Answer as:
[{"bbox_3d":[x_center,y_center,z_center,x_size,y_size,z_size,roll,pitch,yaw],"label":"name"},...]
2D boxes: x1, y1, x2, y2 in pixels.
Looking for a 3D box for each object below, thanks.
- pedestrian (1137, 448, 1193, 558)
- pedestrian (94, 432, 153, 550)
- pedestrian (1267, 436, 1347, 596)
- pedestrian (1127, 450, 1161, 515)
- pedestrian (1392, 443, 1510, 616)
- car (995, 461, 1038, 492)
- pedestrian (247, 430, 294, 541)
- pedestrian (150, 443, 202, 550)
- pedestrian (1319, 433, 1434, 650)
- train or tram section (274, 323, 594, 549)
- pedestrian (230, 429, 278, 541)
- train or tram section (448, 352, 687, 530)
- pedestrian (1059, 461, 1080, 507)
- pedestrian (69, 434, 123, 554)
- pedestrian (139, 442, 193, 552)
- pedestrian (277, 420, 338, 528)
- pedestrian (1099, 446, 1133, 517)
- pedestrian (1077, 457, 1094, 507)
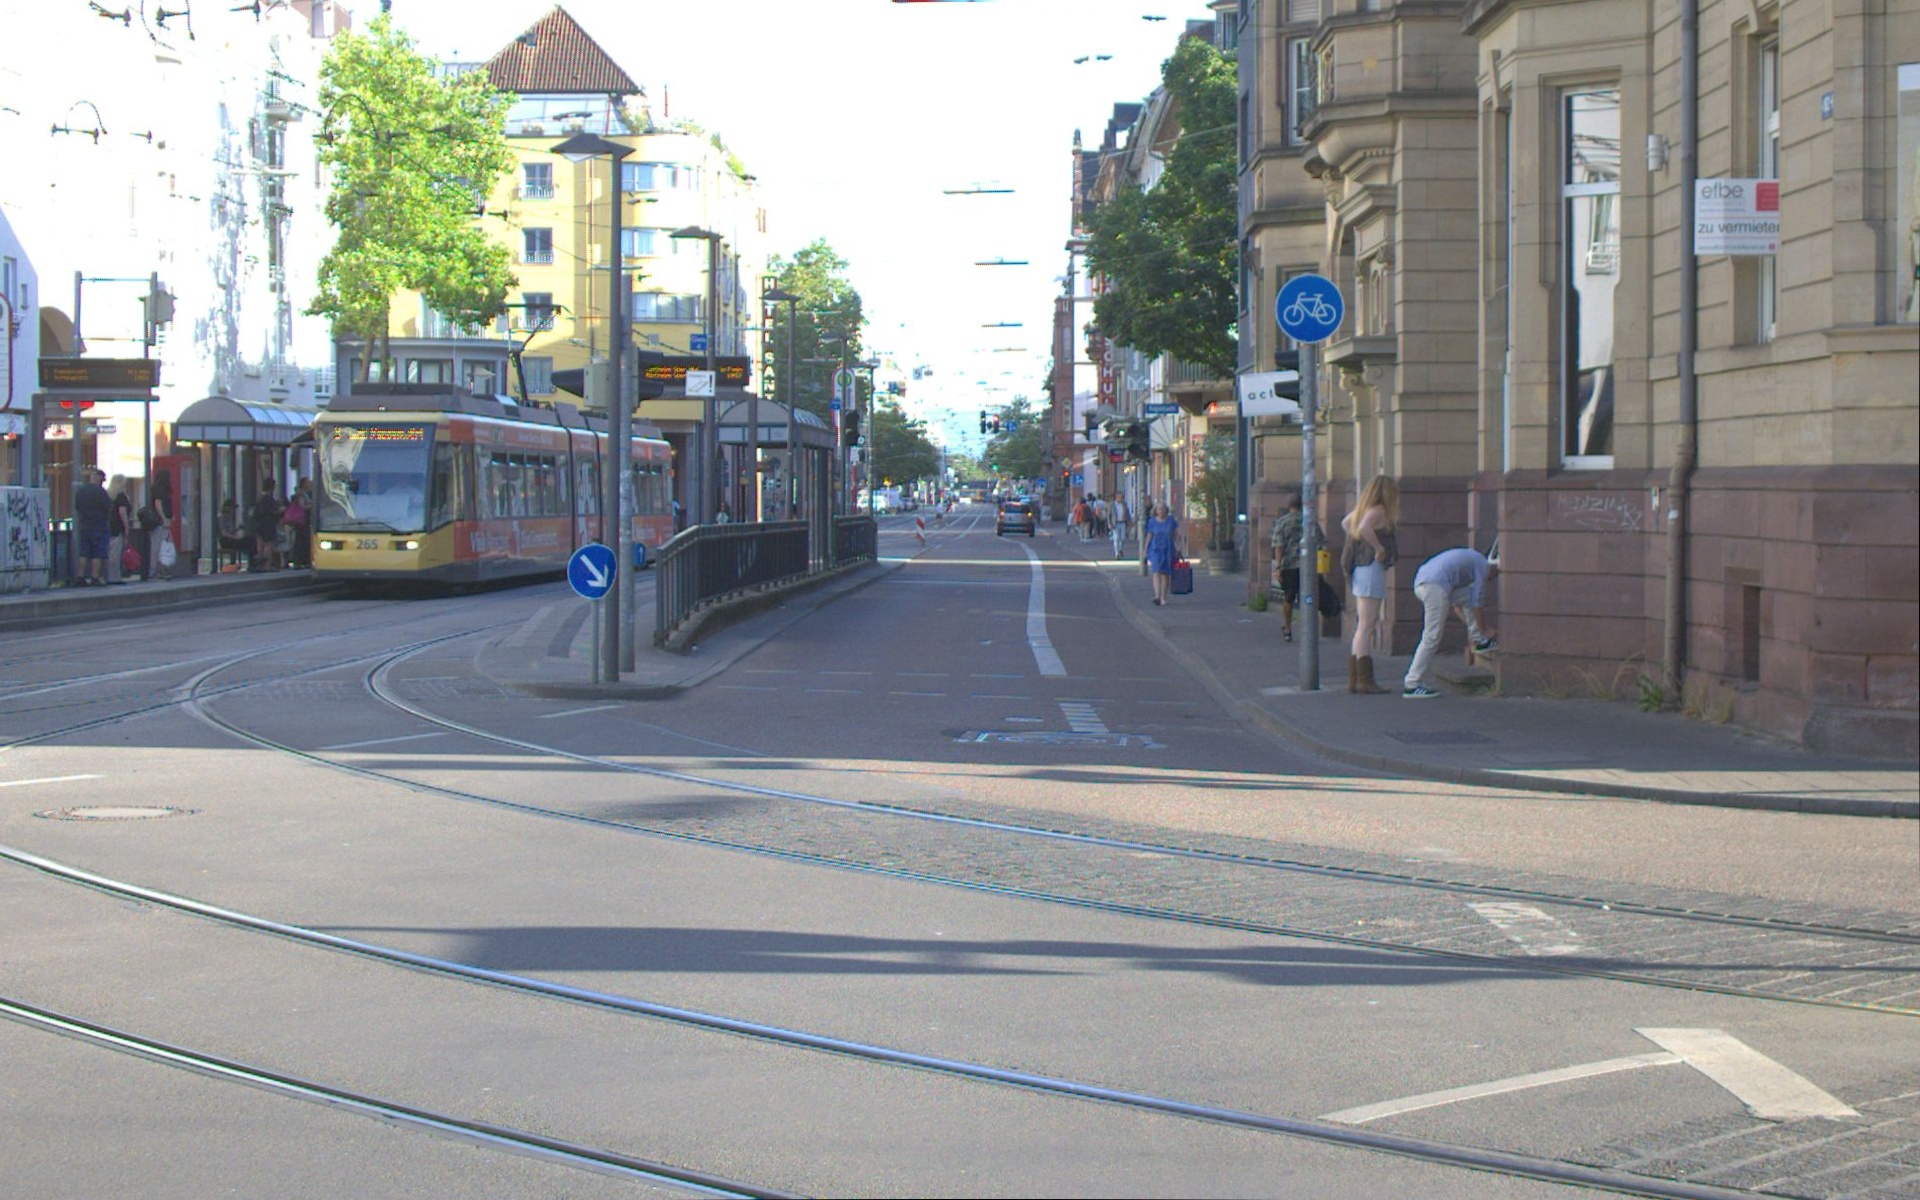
[{"bbox_3d":[3.104,-1.477,52.139,0.762,1.639,0.832,-1,2,1],"label":"pedestrian"},{"bbox_3d":[-12.359,-1.604,50.794,0.765,1.727,0.519,2,2,43],"label":"pedestrian"},{"bbox_3d":[4.012,-0.982,39.797,0.801,1.817,0.797,-1,2,1],"label":"pedestrian"},{"bbox_3d":[4.680,-2.993,87.385,0.713,1.597,0.773,-3,3,-2],"label":"pedestrian"},{"bbox_3d":[3.852,-0.551,27.015,0.794,1.327,0.719,-1,1,-1],"label":"pedestrian"},{"bbox_3d":[2.700,-5.917,165.022,1.993,1.444,4.000,1,2,1],"label":"car"},{"bbox_3d":[-11.893,-1.969,59.320,0.695,1.898,0.672,0,1,-2],"label":"pedestrian"},{"bbox_3d":[-12.480,-1.638,54.703,0.695,1.685,0.672,0,1,-23],"label":"pedestrian"},{"bbox_3d":[3.361,-0.470,27.783,0.794,1.715,0.719,-1,1,-1],"label":"pedestrian"},{"bbox_3d":[-8.978,-2.883,60.844,2.885,3.478,14.169,-1,3,2],"label":"train or tram section"},{"bbox_3d":[-12.065,-1.961,58.764,0.695,1.898,0.672,0,1,-2],"label":"pedestrian"},{"bbox_3d":[-8.350,-3.476,75.459,2.885,3.478,14.951,-1,3,2],"label":"train or tram section"},{"bbox_3d":[4.572,-4.834,143.433,0.843,1.911,0.662,0,2,-1],"label":"pedestrian"},{"bbox_3d":[-12.264,-1.498,48.793,0.599,1.686,0.613,0,1,1],"label":"pedestrian"},{"bbox_3d":[-12.240,-1.587,52.993,0.695,1.685,0.672,0,1,-23],"label":"pedestrian"},{"bbox_3d":[-11.565,-2.225,60.914,0.931,1.898,0.881,0,1,-2],"label":"pedestrian"},{"bbox_3d":[3.949,-3.001,87.110,0.713,1.768,0.773,-3,3,-2],"label":"pedestrian"},{"bbox_3d":[4.545,-4.286,124.700,0.560,1.790,0.650,0,2,8],"label":"pedestrian"}]
